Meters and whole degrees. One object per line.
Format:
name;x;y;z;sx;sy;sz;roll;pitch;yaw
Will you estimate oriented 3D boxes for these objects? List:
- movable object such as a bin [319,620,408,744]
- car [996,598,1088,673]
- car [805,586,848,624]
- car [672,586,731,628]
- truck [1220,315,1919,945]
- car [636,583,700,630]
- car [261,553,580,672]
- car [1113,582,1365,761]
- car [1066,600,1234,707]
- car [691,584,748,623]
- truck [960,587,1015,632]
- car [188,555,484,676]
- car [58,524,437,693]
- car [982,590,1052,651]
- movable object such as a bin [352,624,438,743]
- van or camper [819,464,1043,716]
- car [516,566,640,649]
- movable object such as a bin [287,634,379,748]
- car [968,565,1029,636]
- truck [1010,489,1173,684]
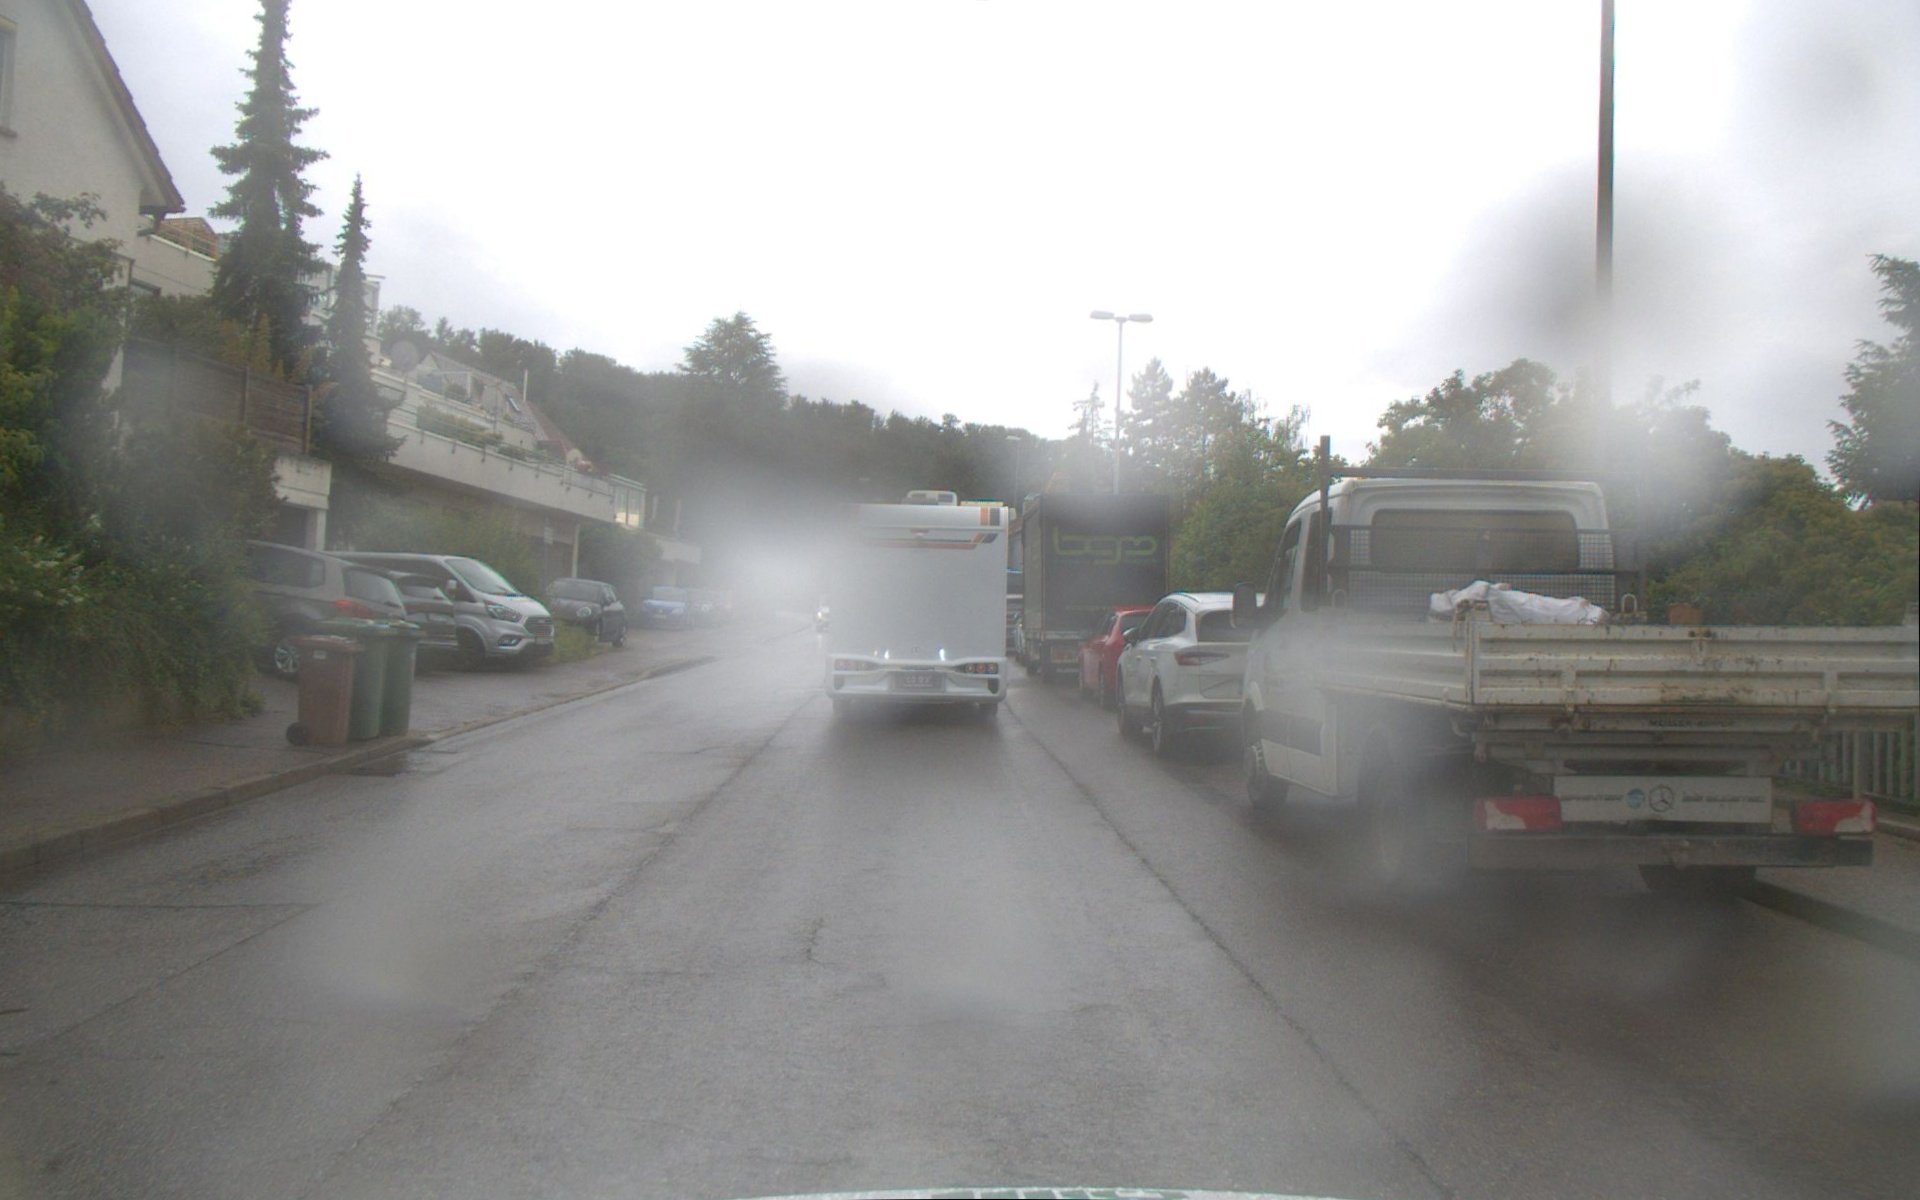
movable object such as a bin;-5.484;0.747;15.229;0.591;1.082;0.637;2;0;-6
car;1.938;0.833;40.714;1.809;1.713;5.636;0;0;-2
car;-6.114;0.201;76.156;1.868;1.635;4.425;2;0;-4
car;-9.916;0.273;63.735;1.600;1.420;4.237;5;0;-1
truck;3.267;0.148;10.331;2.193;2.677;6.537;0;0;-1
car;-10.154;0.192;57.802;1.575;1.459;3.957;5;0;-2
car;-9.492;0.194;29.244;4.976;1.978;2.143;1;0;15
car;2.787;0.675;17.548;1.724;1.632;4.664;0;0;-2
car;2.792;0.757;25.373;1.795;1.463;4.984;0;0;-3
car;-10.395;0.125;71.733;1.739;1.461;4.587;6;0;-1
truck;1.195;0.405;76.012;2.071;1.884;6.615;3;0;-2
car;-9.879;0.242;26.303;3.969;1.667;1.895;3;-1;15
car;-9.060;0.105;21.184;3.970;1.721;1.895;5;0;12
car;1.631;0.578;48.911;1.896;1.701;4.694;0;0;0
movable object such as a bin;-5.442;0.794;15.957;0.591;1.082;0.697;2;0;-6
van or camper;-0.392;-0.044;22.791;2.563;2.903;6.029;2;-2;-1
car;-8.875;0.168;38.779;1.655;1.615;4.197;8;0;1
movable object such as a bin;-5.506;0.794;14.540;0.591;0.944;0.563;2;0;-6
car;1.400;0.024;62.376;1.990;2.549;5.953;0;0;-2
truck;2.434;-0.218;32.991;2.387;3.394;7.962;0;0;-2
